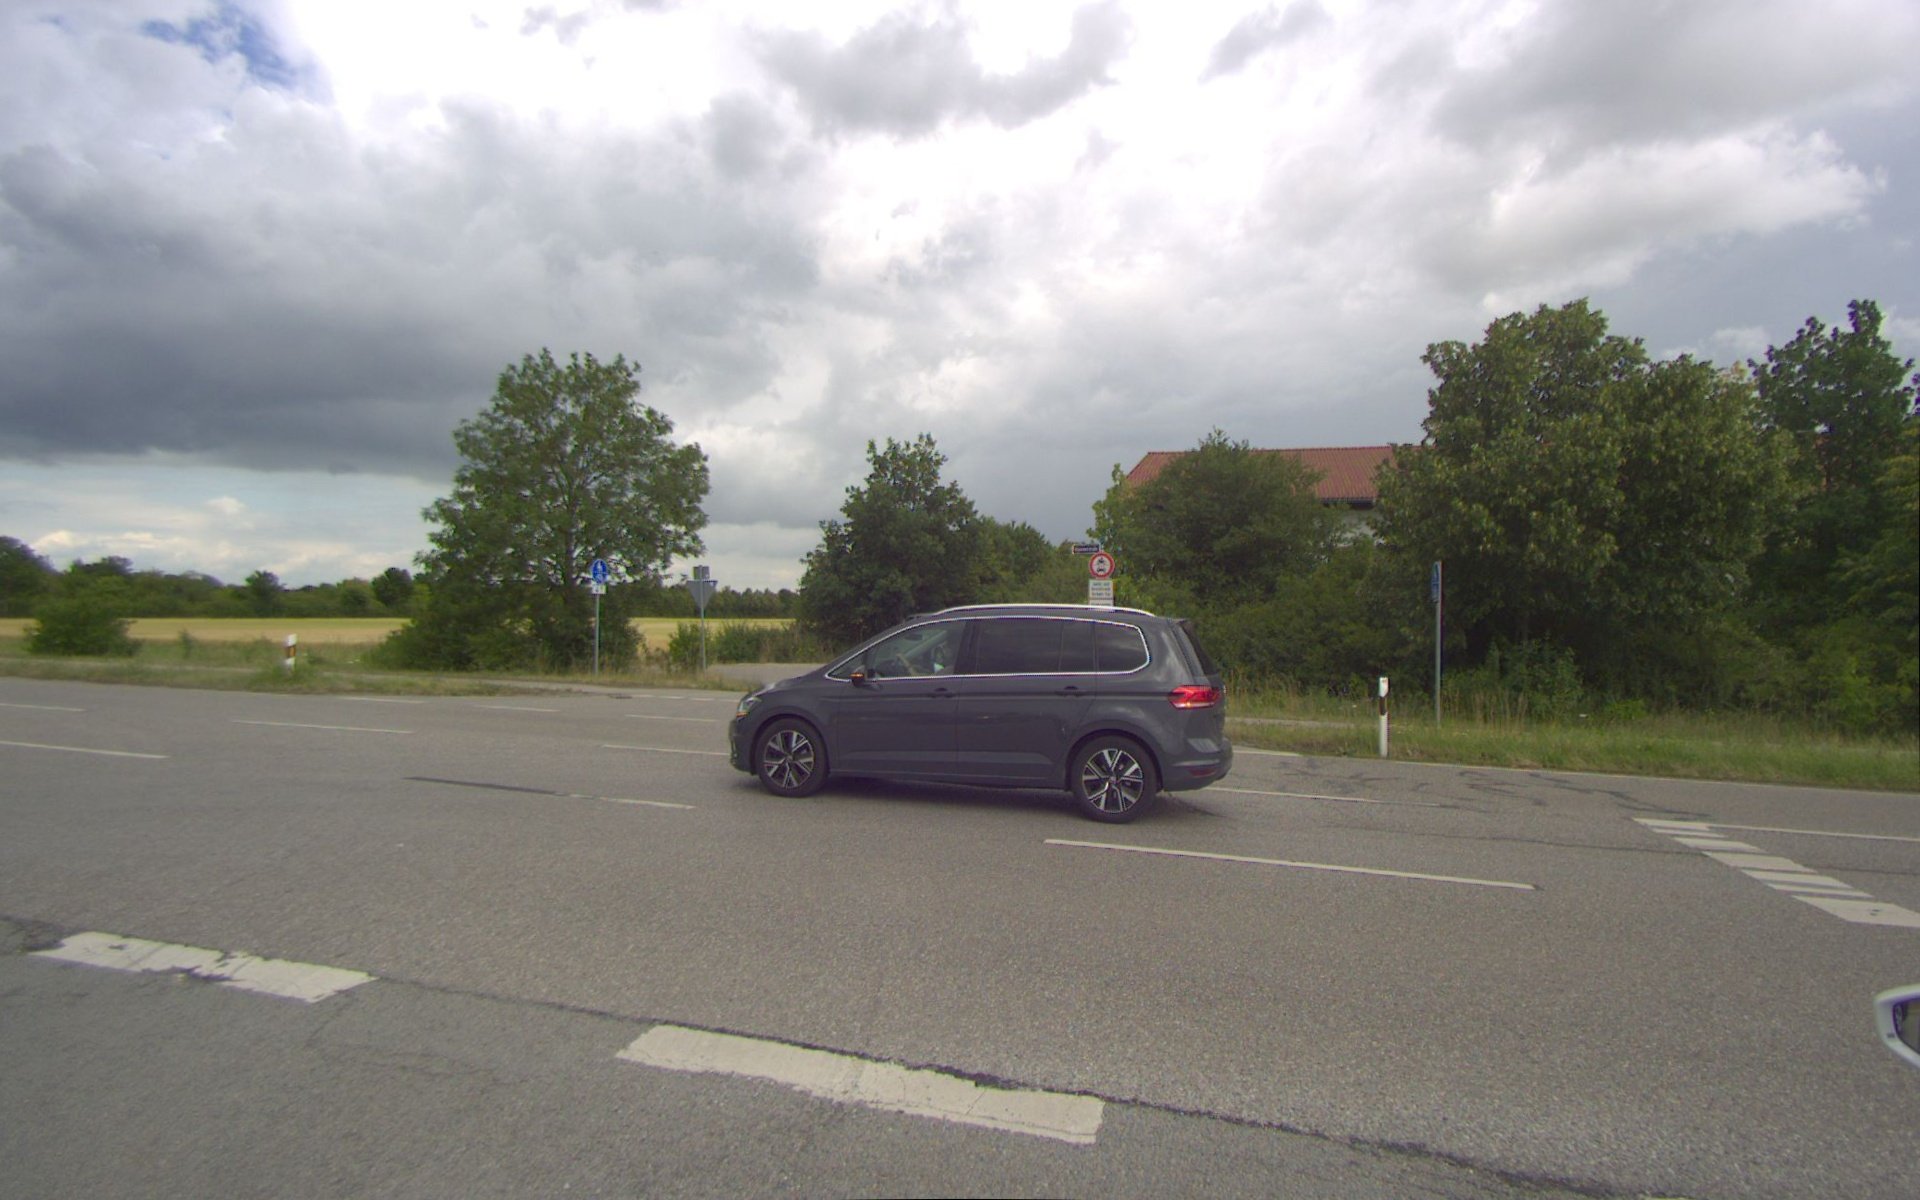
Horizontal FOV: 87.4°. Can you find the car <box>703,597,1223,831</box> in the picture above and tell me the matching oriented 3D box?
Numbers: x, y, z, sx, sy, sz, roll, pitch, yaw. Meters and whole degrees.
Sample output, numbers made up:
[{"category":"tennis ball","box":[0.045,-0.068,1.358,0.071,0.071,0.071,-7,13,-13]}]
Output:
[{"category":"car","box":[0.087,0.862,8.799,4.205,1.680,1.755,0,-2,17]}]

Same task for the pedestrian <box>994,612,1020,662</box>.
[{"category":"pedestrian","box":[1.693,1.307,35.992,0.712,1.746,0.792,0,-1,21]}]

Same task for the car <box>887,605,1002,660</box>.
[{"category":"car","box":[-0.691,1.163,37.729,2.089,1.911,5.058,0,-1,-31]}]

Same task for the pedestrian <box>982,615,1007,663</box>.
[{"category":"pedestrian","box":[1.267,1.425,36.969,0.690,1.746,0.732,0,-1,25]}]
